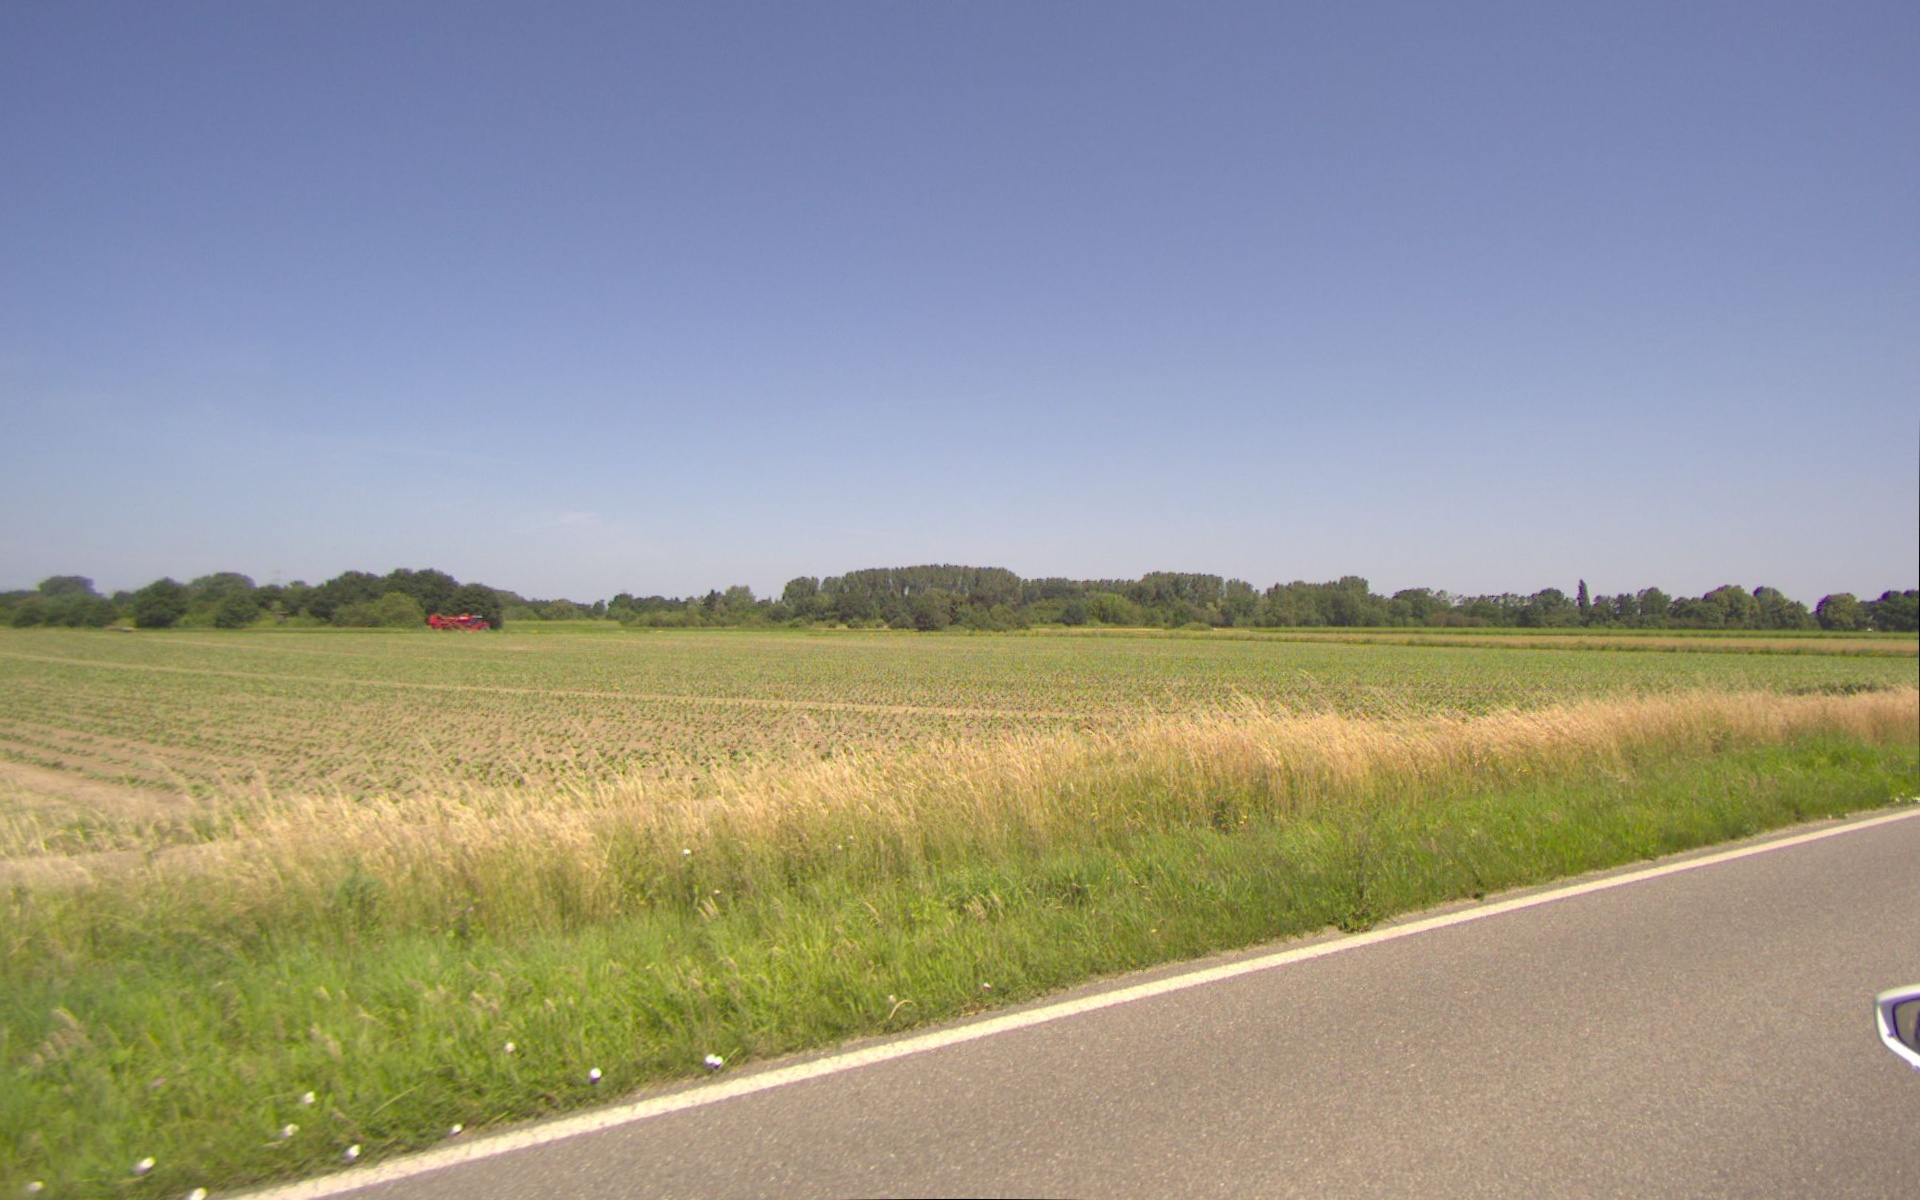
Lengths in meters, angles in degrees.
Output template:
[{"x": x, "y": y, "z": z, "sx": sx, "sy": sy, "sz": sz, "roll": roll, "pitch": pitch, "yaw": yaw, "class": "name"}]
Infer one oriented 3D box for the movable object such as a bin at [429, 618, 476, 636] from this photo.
[{"x": -112.581, "y": 6.011, "z": 222.768, "sx": 9.777, "sy": 3.899, "sz": 2.549, "roll": 0, "pitch": -2, "yaw": 10, "class": "movable object such as a bin"}]
